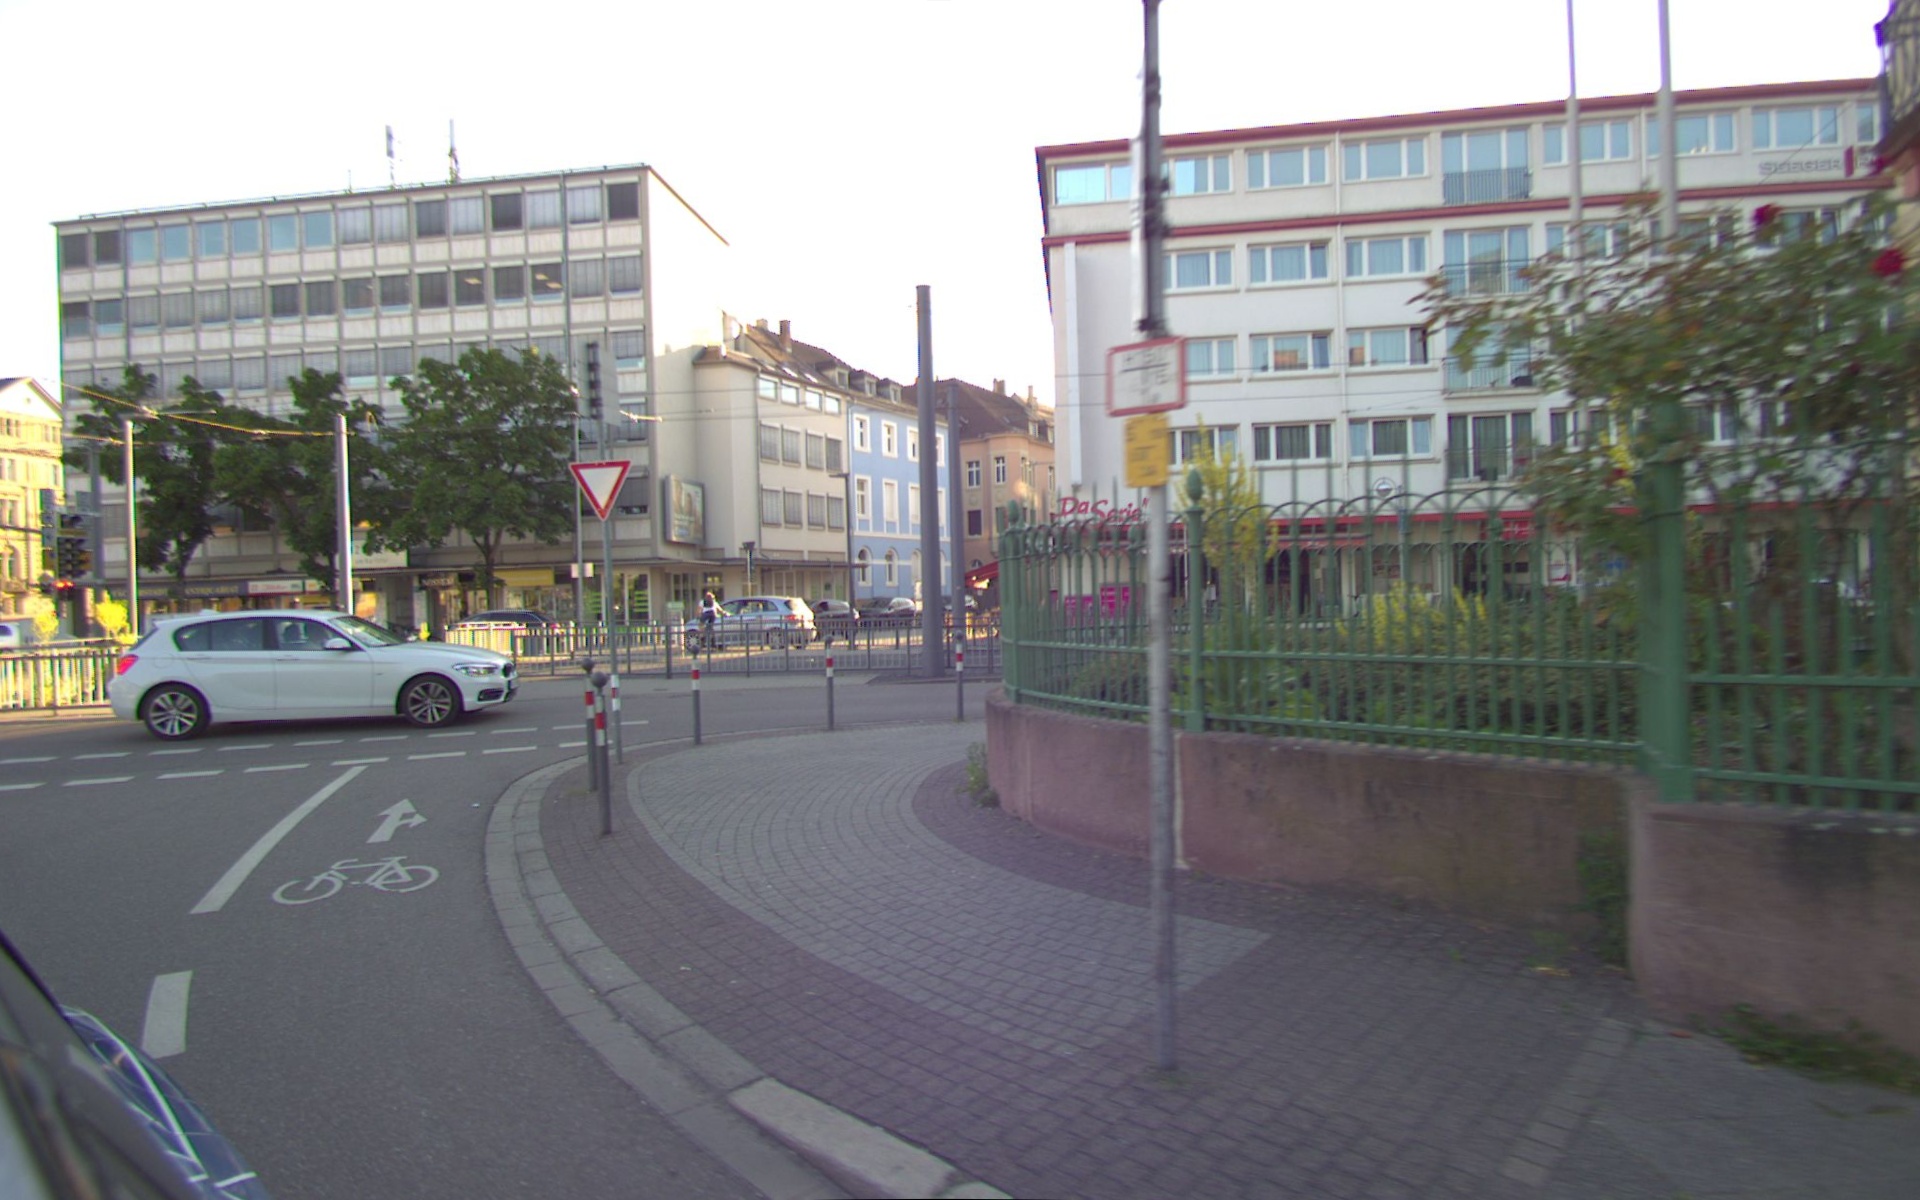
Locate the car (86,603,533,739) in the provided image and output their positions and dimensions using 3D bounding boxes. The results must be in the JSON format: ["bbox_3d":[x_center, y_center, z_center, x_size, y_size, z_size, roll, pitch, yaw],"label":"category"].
[{"bbox_3d":[-7.709,0.780,12.479,4.232,1.416,1.922,-1,0,-14],"label":"car"}]

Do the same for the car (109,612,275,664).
[{"bbox_3d":[-25.824,1.261,34.113,4.250,1.586,1.996,-2,0,6],"label":"car"}]

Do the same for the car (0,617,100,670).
[{"bbox_3d":[-29.722,1.389,31.472,4.609,1.451,2.035,-2,1,10],"label":"car"}]

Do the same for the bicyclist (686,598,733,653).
[{"bbox_3d":[-6.879,0.694,27.763,0.927,1.452,0.826,-1,0,31],"label":"bicyclist"}]

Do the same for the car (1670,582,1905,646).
[{"bbox_3d":[21.947,0.382,27.035,4.354,1.476,1.994,-2,0,10],"label":"car"}]

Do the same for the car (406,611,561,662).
[{"bbox_3d":[-15.526,1.167,33.195,4.300,1.446,1.741,-2,0,-12],"label":"car"}]

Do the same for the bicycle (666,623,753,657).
[{"bbox_3d":[-6.872,1.090,27.763,2.413,0.853,0.838,-1,0,30],"label":"bicycle"}]

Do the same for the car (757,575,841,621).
[{"bbox_3d":[-6.050,-0.088,38.500,1.865,1.586,4.237,-1,0,10],"label":"car"}]

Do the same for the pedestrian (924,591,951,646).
[{"bbox_3d":[-0.752,0.627,34.072,0.801,1.802,0.853,-2,0,3],"label":"pedestrian"}]

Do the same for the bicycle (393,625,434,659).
[{"bbox_3d":[-21.129,1.611,39.133,0.532,1.194,1.634,-2,0,7],"label":"bicycle"}]

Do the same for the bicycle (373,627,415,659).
[{"bbox_3d":[-22.057,1.654,39.487,0.657,1.148,1.746,-2,1,0],"label":"bicycle"}]

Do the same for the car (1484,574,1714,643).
[{"bbox_3d":[17.174,0.218,27.450,4.787,1.678,1.994,-2,0,11],"label":"car"}]

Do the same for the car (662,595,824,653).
[{"bbox_3d":[-6.465,0.698,30.375,4.238,1.571,2.196,-2,0,14],"label":"car"}]
